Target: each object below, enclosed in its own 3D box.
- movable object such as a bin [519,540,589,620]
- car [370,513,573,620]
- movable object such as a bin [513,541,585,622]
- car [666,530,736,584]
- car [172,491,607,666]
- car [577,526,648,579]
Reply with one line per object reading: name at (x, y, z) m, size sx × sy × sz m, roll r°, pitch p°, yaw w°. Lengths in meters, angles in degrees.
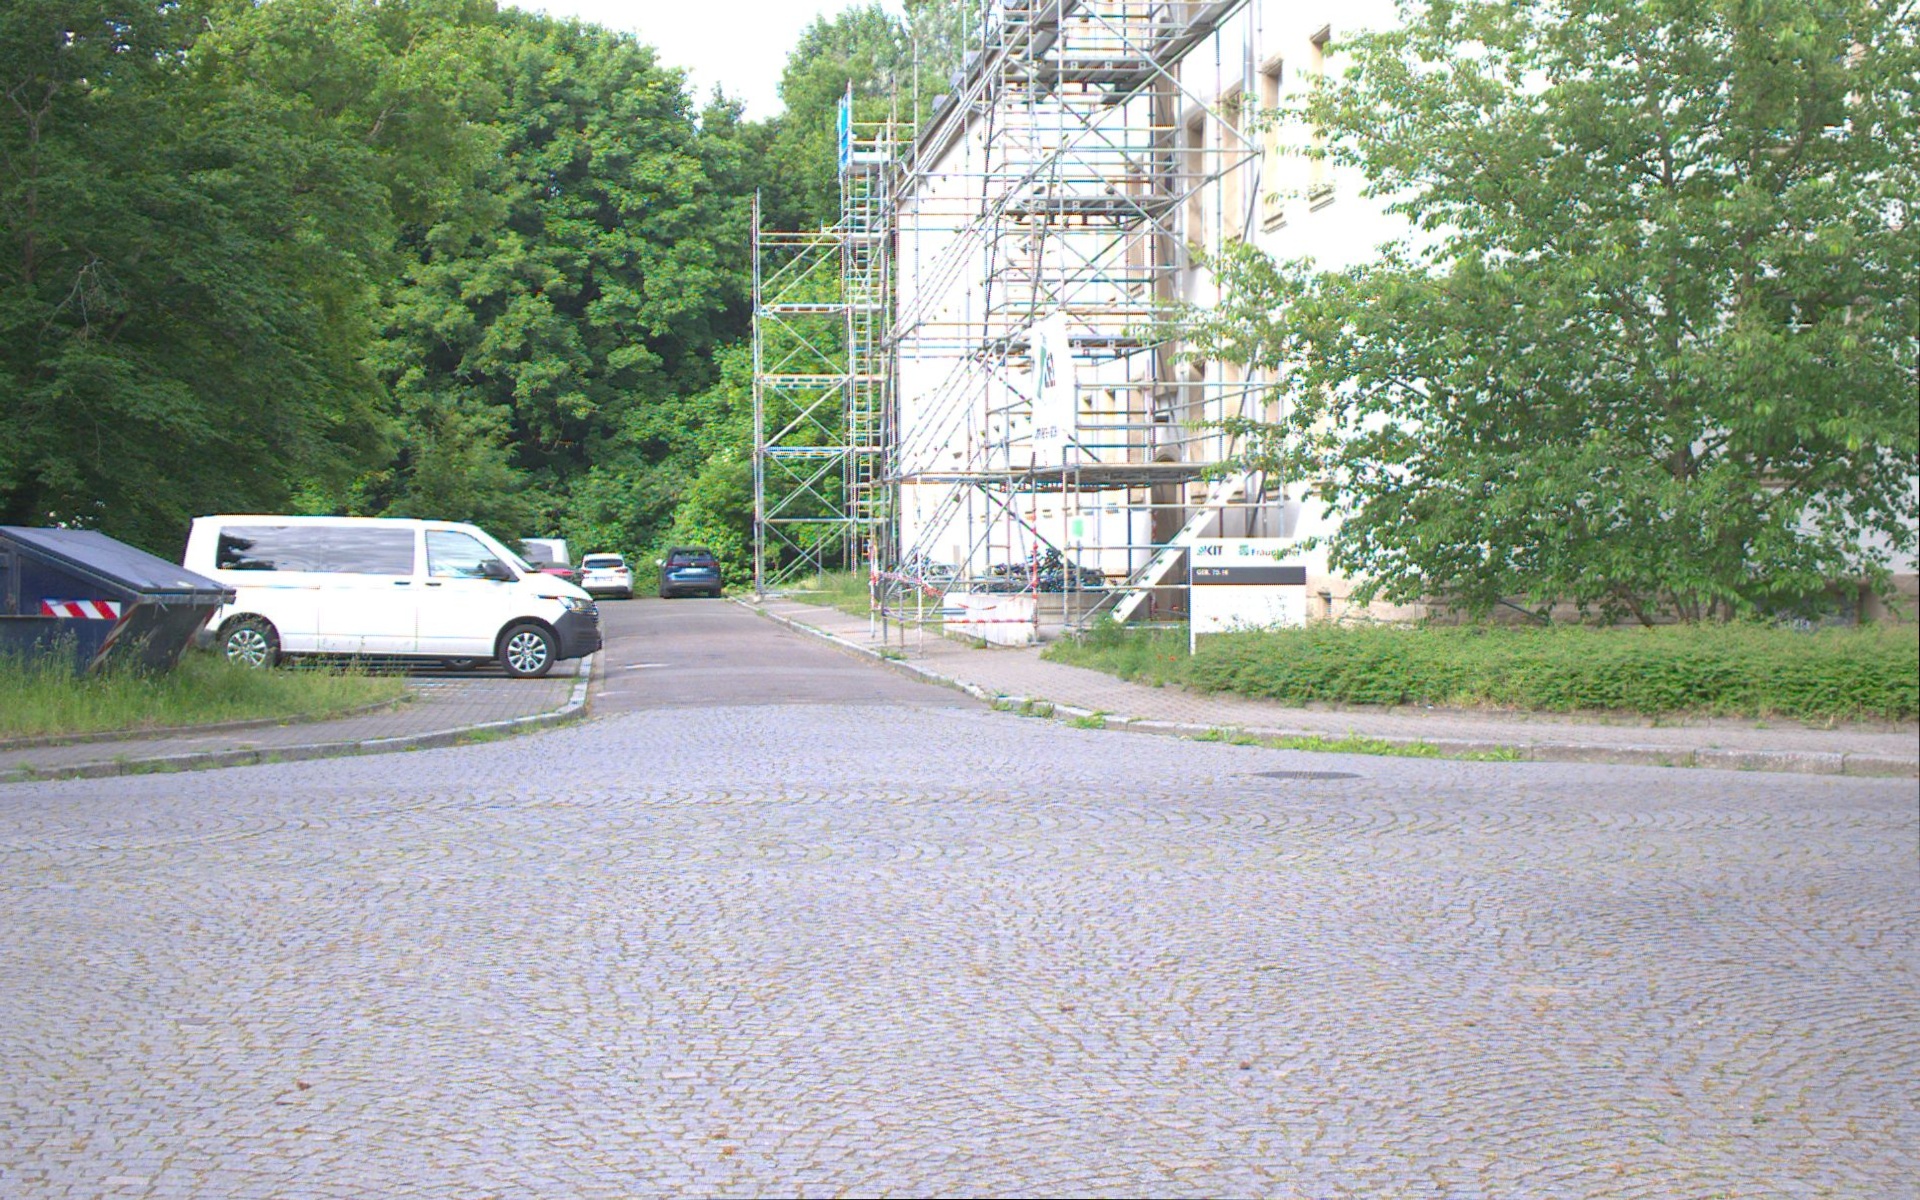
movable object such as a bin at (-7.380, -0.360, 62.539) m, size 1.183 × 1.402 × 0.975 m, roll 2°, pitch 0°, yaw -5°
car at (-9.985, -0.673, 70.177) m, size 3.986 × 2.007 × 1.922 m, roll 2°, pitch 0°, yaw -10°
movable object such as a bin at (-7.345, -0.329, 61.501) m, size 1.183 × 1.402 × 0.975 m, roll 2°, pitch 0°, yaw -5°
car at (-8.233, -1.341, 109.439) m, size 2.063 × 1.588 × 4.000 m, roll 2°, pitch 0°, yaw -3°
car at (-7.057, -0.259, 42.989) m, size 5.199 × 2.053 × 2.189 m, roll 1°, pitch 0°, yaw -6°
car at (-11.026, -1.490, 108.897) m, size 2.001 × 1.542 × 3.959 m, roll 2°, pitch 0°, yaw -8°
